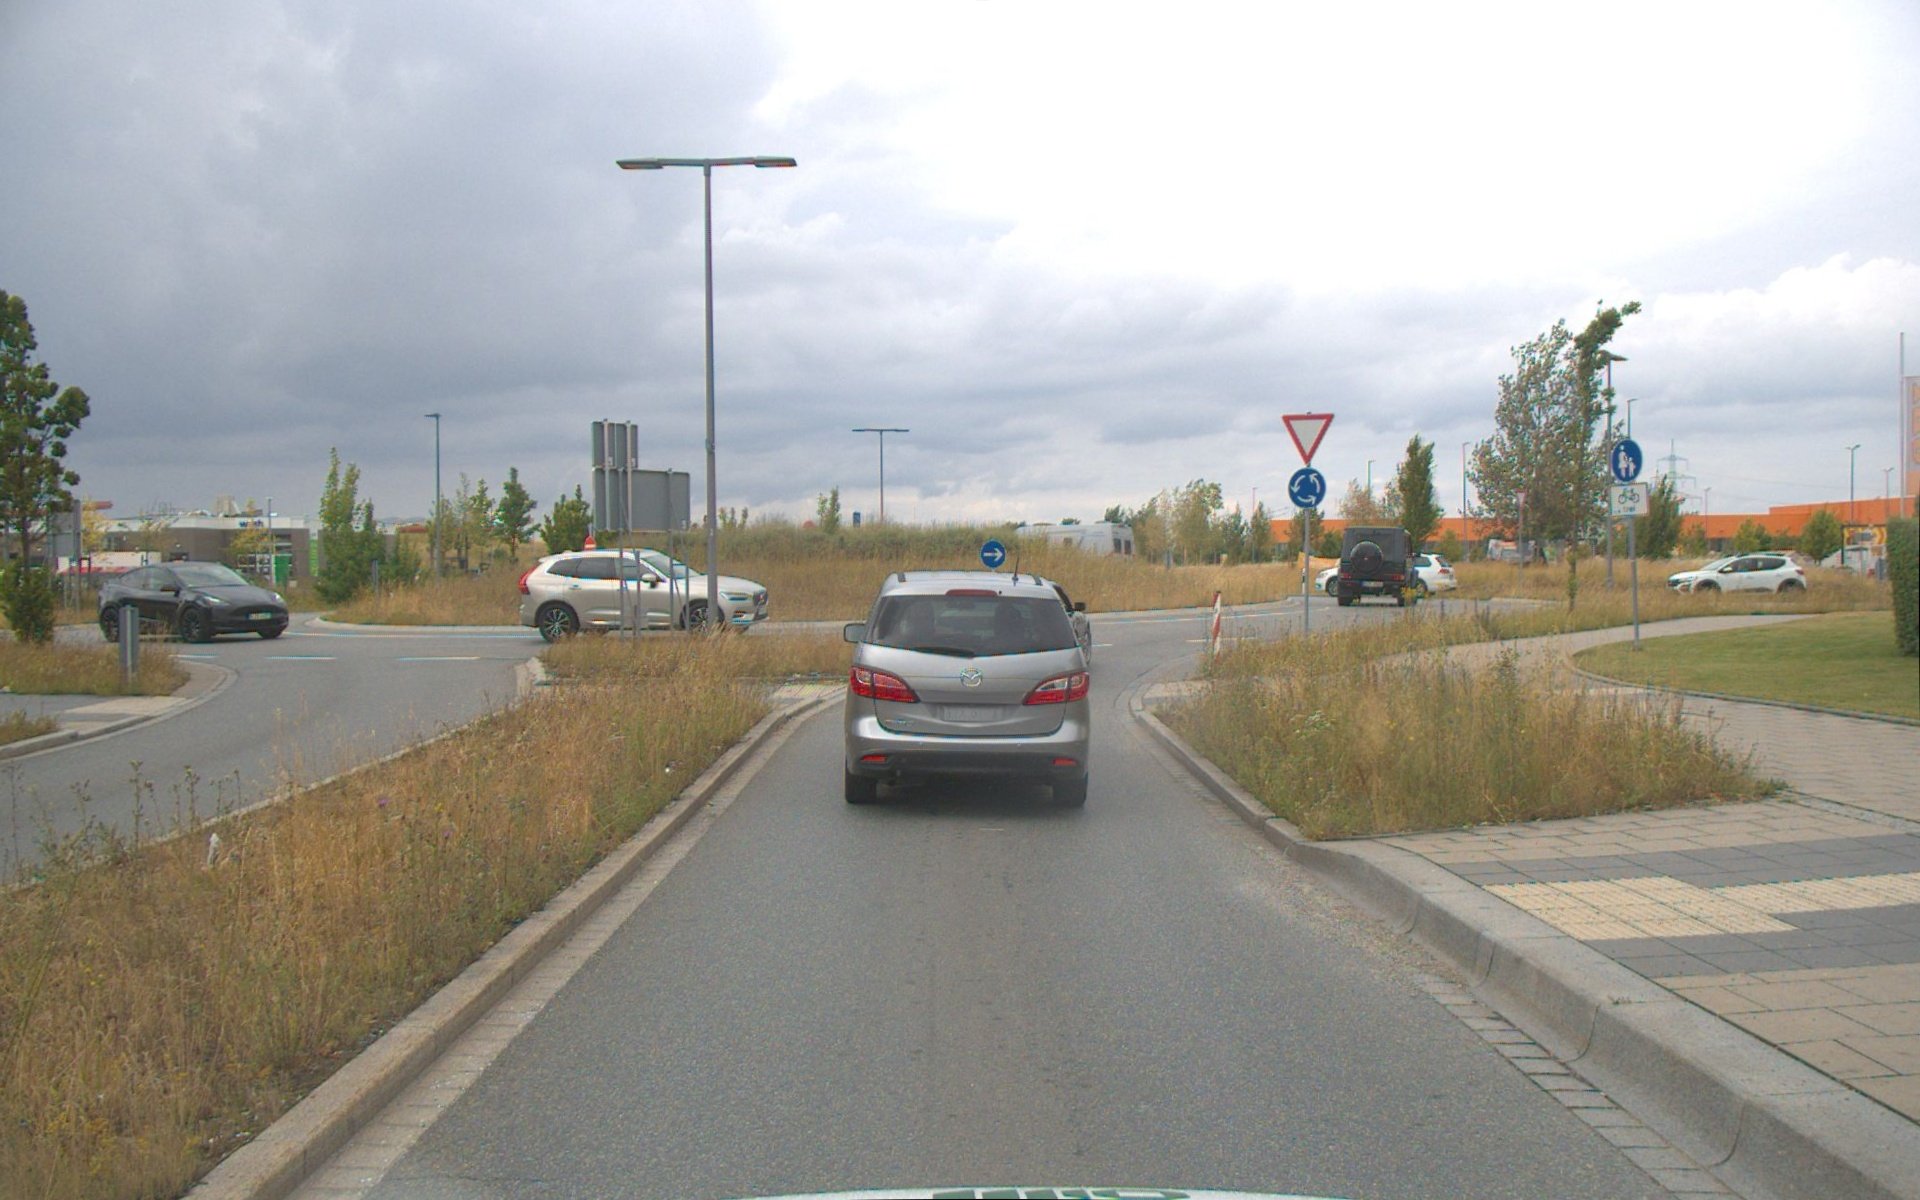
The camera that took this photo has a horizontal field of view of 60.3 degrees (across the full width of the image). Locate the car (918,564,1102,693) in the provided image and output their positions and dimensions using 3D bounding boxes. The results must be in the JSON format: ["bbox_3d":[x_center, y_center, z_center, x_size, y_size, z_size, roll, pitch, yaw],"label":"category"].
[{"bbox_3d":[0.783,0.307,22.719,1.701,1.427,4.002,1,4,14],"label":"car"}]

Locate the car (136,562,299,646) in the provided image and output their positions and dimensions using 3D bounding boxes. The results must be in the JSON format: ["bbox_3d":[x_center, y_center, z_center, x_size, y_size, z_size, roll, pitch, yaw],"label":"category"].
[{"bbox_3d":[-15.705,0.024,34.861,1.926,1.524,4.707,-4,4,-39],"label":"car"}]

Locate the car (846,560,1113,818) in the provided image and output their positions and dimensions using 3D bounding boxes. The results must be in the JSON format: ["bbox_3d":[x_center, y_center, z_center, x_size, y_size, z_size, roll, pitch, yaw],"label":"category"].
[{"bbox_3d":[0.084,0.532,12.715,1.703,1.626,3.997,1,2,-1],"label":"car"}]

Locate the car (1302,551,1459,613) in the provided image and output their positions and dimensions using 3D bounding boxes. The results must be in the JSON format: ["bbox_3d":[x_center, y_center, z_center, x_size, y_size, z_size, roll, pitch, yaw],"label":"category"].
[{"bbox_3d":[13.784,-0.597,54.180,4.665,1.919,2.084,0,3,25],"label":"car"}]

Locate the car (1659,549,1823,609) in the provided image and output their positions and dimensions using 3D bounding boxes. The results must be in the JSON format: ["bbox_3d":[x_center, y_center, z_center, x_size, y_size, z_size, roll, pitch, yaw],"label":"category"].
[{"bbox_3d":[24.391,-0.672,51.741,4.236,1.676,1.871,-1,3,2],"label":"car"}]

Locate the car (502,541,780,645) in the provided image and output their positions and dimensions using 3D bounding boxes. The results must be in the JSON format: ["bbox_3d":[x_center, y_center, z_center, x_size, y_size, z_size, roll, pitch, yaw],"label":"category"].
[{"bbox_3d":[-5.910,-0.143,30.856,4.657,1.768,1.947,-1,3,12],"label":"car"}]

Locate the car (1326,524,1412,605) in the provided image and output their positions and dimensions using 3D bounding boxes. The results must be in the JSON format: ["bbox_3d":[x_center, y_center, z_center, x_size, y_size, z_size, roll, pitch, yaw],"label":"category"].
[{"bbox_3d":[10.695,-0.976,43.083,2.033,1.919,4.780,-1,3,15],"label":"car"}]

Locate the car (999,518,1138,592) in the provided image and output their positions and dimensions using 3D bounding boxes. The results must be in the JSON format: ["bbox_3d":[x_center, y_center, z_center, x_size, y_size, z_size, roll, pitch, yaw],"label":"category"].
[{"bbox_3d":[3.958,-1.654,60.588,4.674,2.588,2.079,0,3,33],"label":"car"}]
